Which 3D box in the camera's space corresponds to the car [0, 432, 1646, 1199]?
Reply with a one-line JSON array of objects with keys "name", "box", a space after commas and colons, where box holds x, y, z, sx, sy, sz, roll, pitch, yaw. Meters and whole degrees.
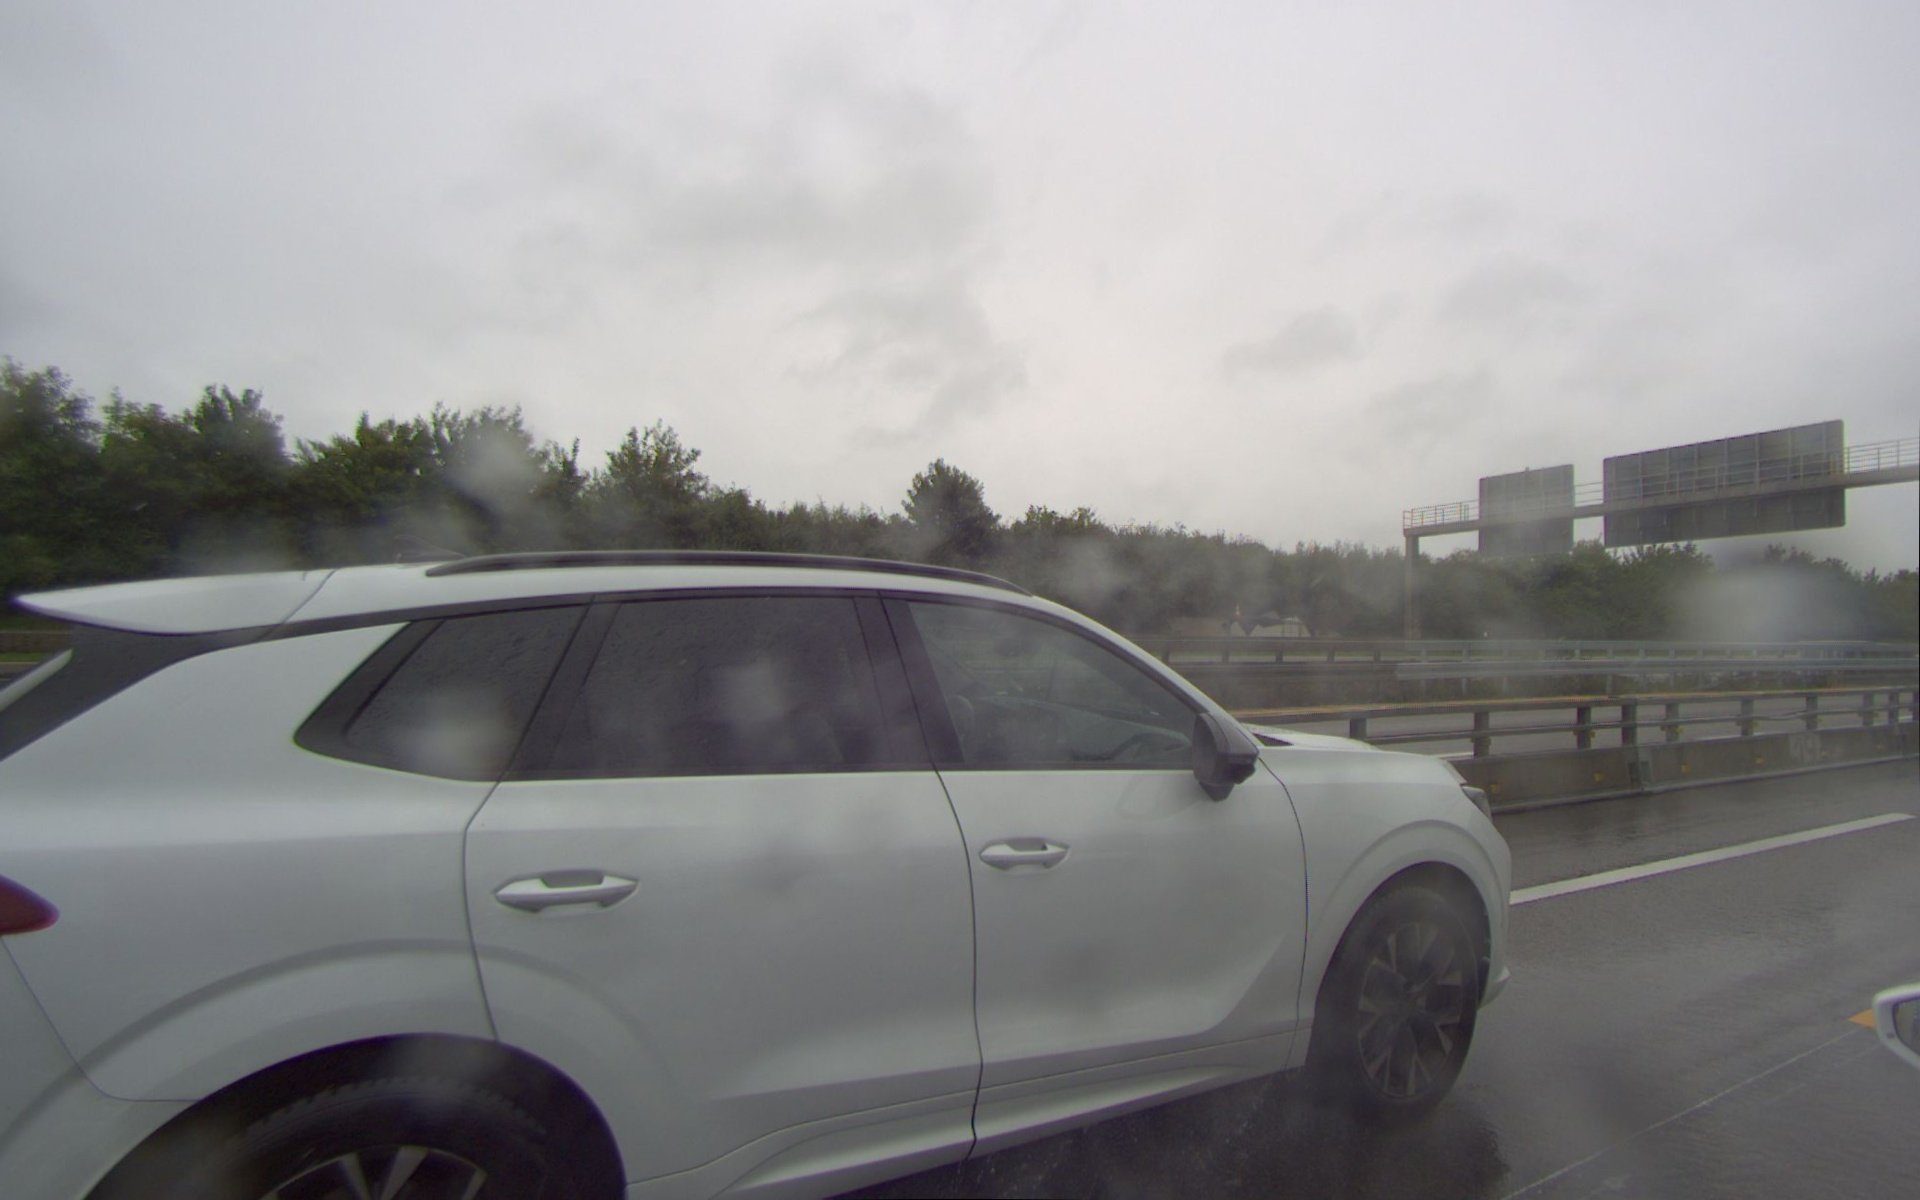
[{"name": "car", "box": [-0.309, 0.641, 2.977, 4.739, 1.639, 1.984, 2, 0, -30]}]
